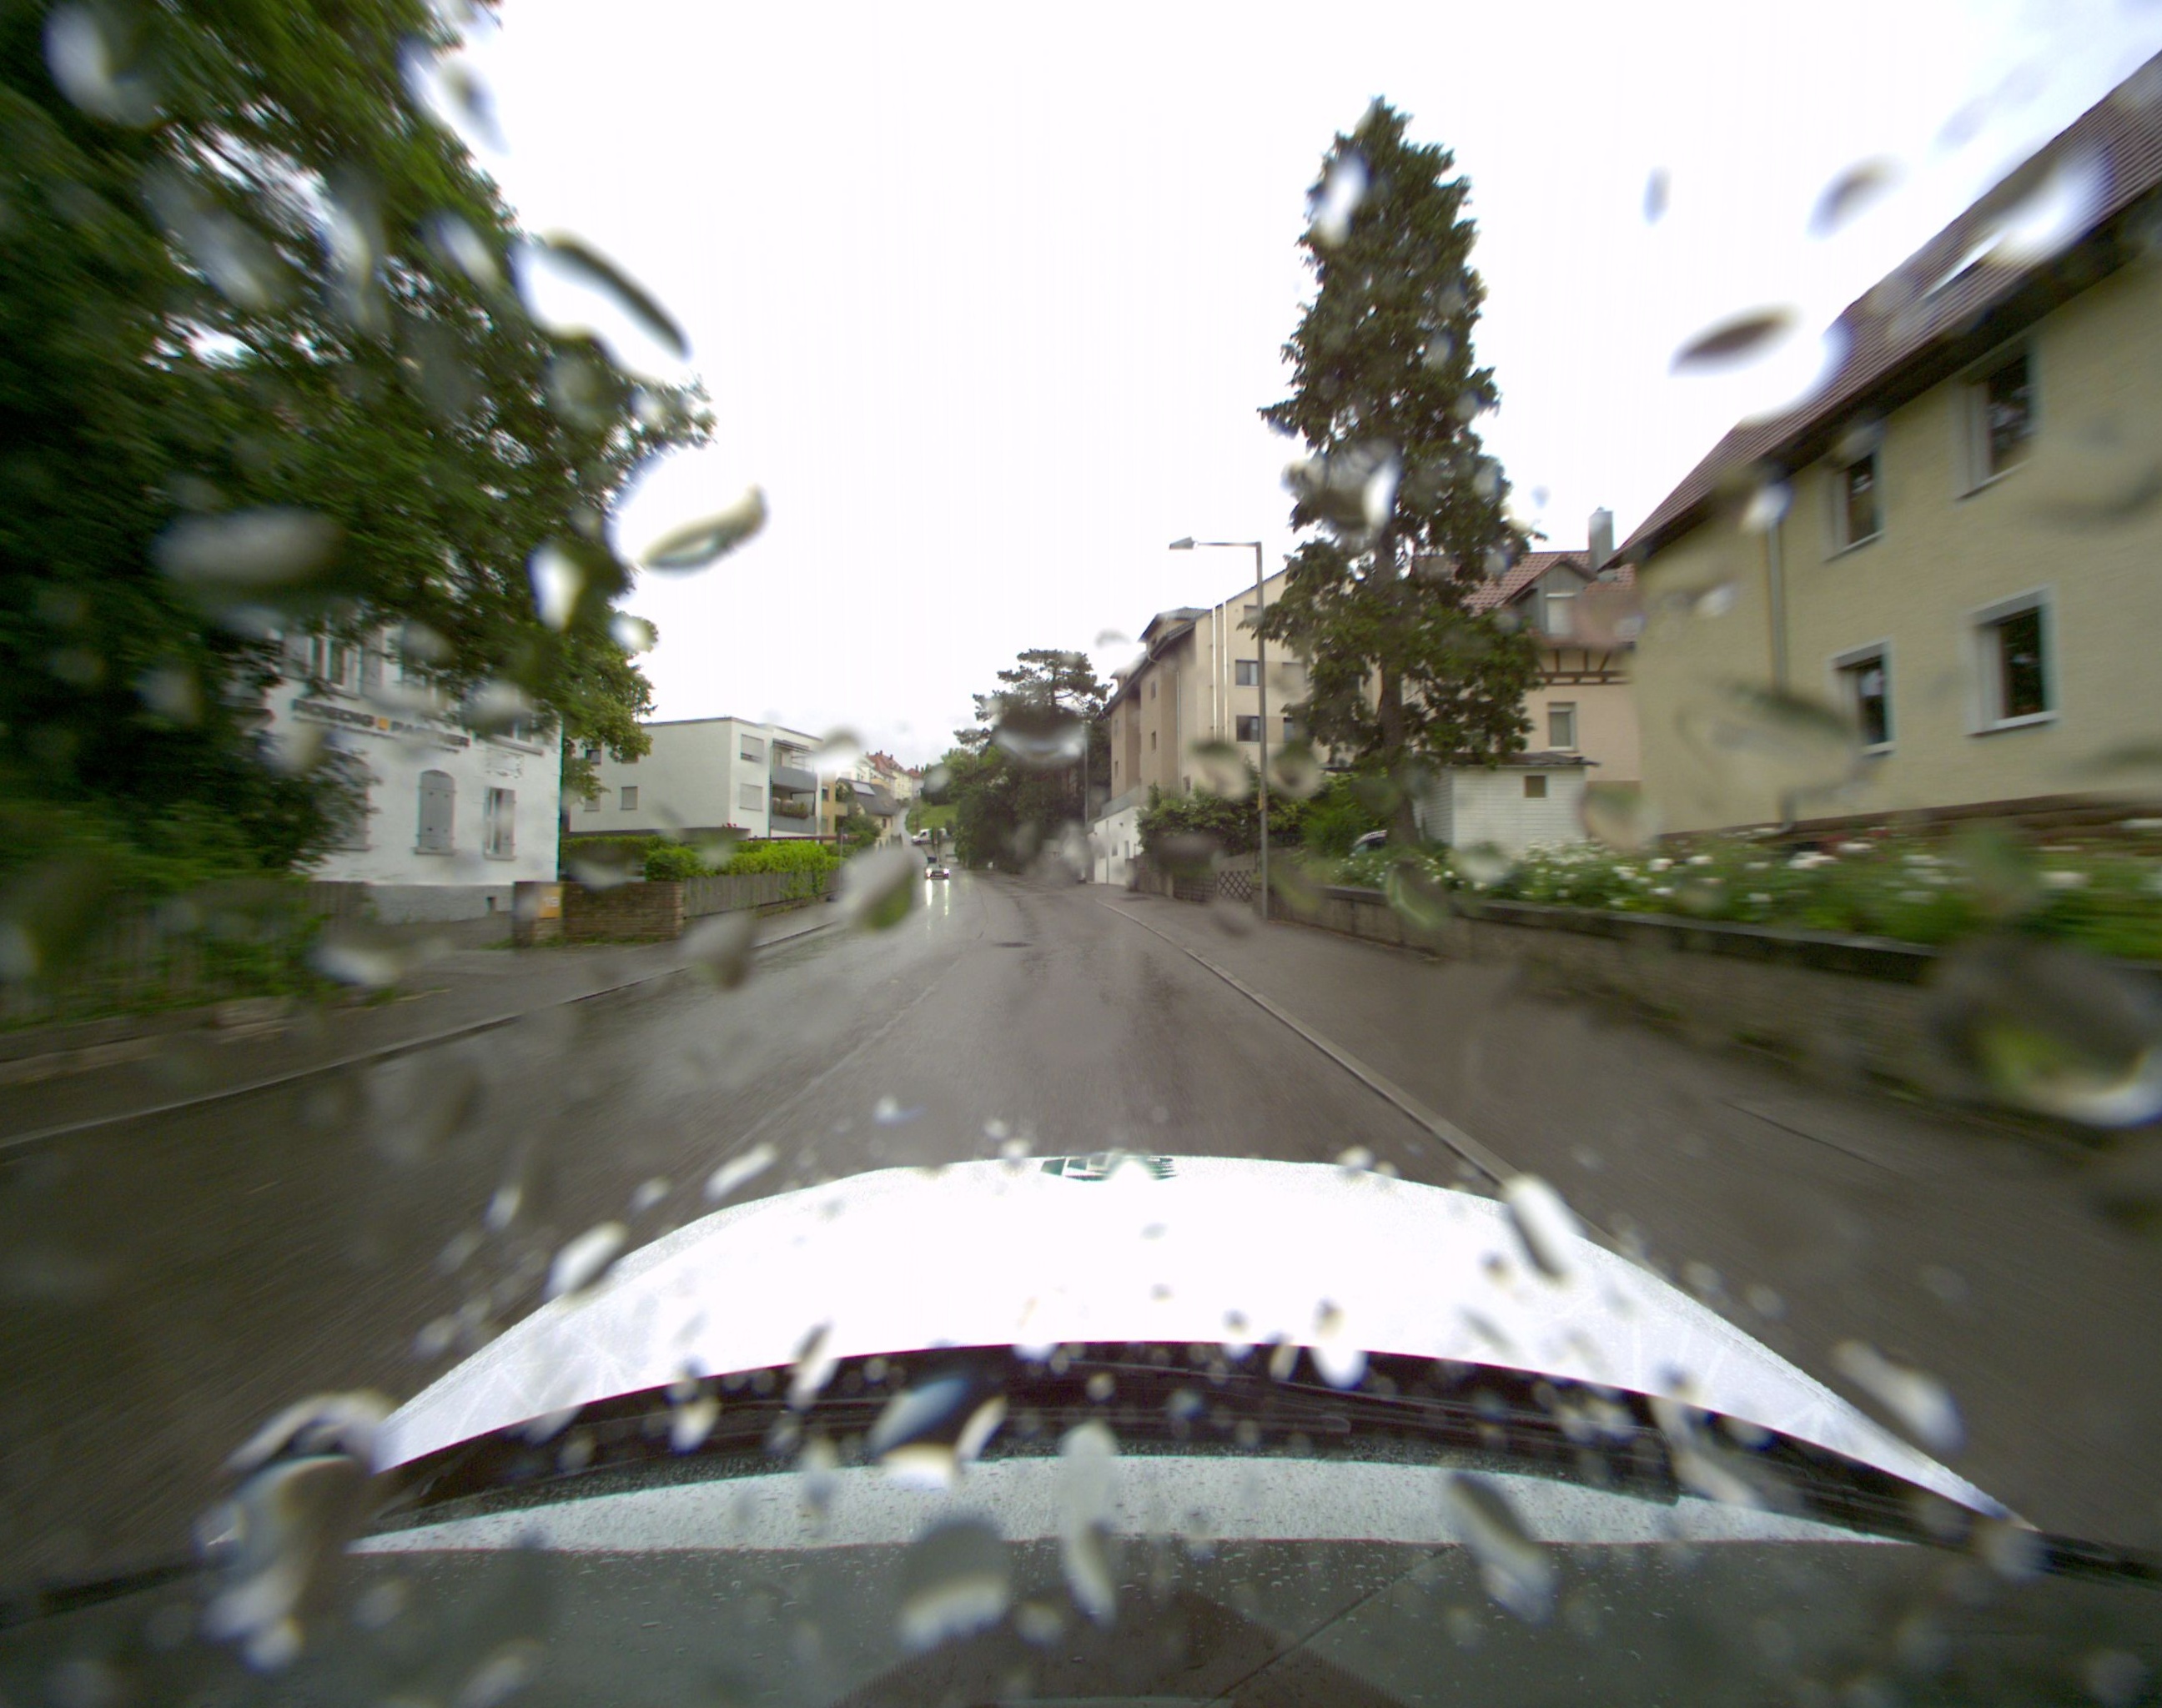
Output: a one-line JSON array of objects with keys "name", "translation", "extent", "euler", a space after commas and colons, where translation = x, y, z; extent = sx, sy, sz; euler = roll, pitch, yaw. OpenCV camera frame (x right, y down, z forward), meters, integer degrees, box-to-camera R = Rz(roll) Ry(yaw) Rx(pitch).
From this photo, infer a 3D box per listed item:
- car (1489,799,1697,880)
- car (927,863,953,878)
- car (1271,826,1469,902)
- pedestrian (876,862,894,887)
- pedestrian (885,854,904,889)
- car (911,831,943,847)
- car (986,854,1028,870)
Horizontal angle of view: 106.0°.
[{"name": "car", "translation": [12.616, -0.341, 20.269], "extent": [3.839, 1.653, 1.964], "euler": [-4, 0, 1]}, {"name": "car", "translation": [-11.291, 1.304, 65.256], "extent": [1.676, 1.146, 3.993], "euler": [-1, 0, -5]}, {"name": "car", "translation": [7.161, 0.240, 20.558], "extent": [4.297, 1.653, 1.966], "euler": [-2, 0, 4]}, {"name": "pedestrian", "translation": [-9.690, 1.009, 40.297], "extent": [0.755, 1.180, 1.037], "euler": [-1, 0, -7]}, {"name": "pedestrian", "translation": [-8.992, 0.851, 39.328], "extent": [0.755, 1.644, 1.037], "euler": [2, -1, -7]}, {"name": "car", "translation": [-26.017, -2.519, 137.509], "extent": [4.961, 2.569, 1.891], "euler": [-3, 1, -21]}, {"name": "car", "translation": [-7.844, 0.837, 86.104], "extent": [4.153, 1.476, 1.894], "euler": [-3, 1, -17]}]
